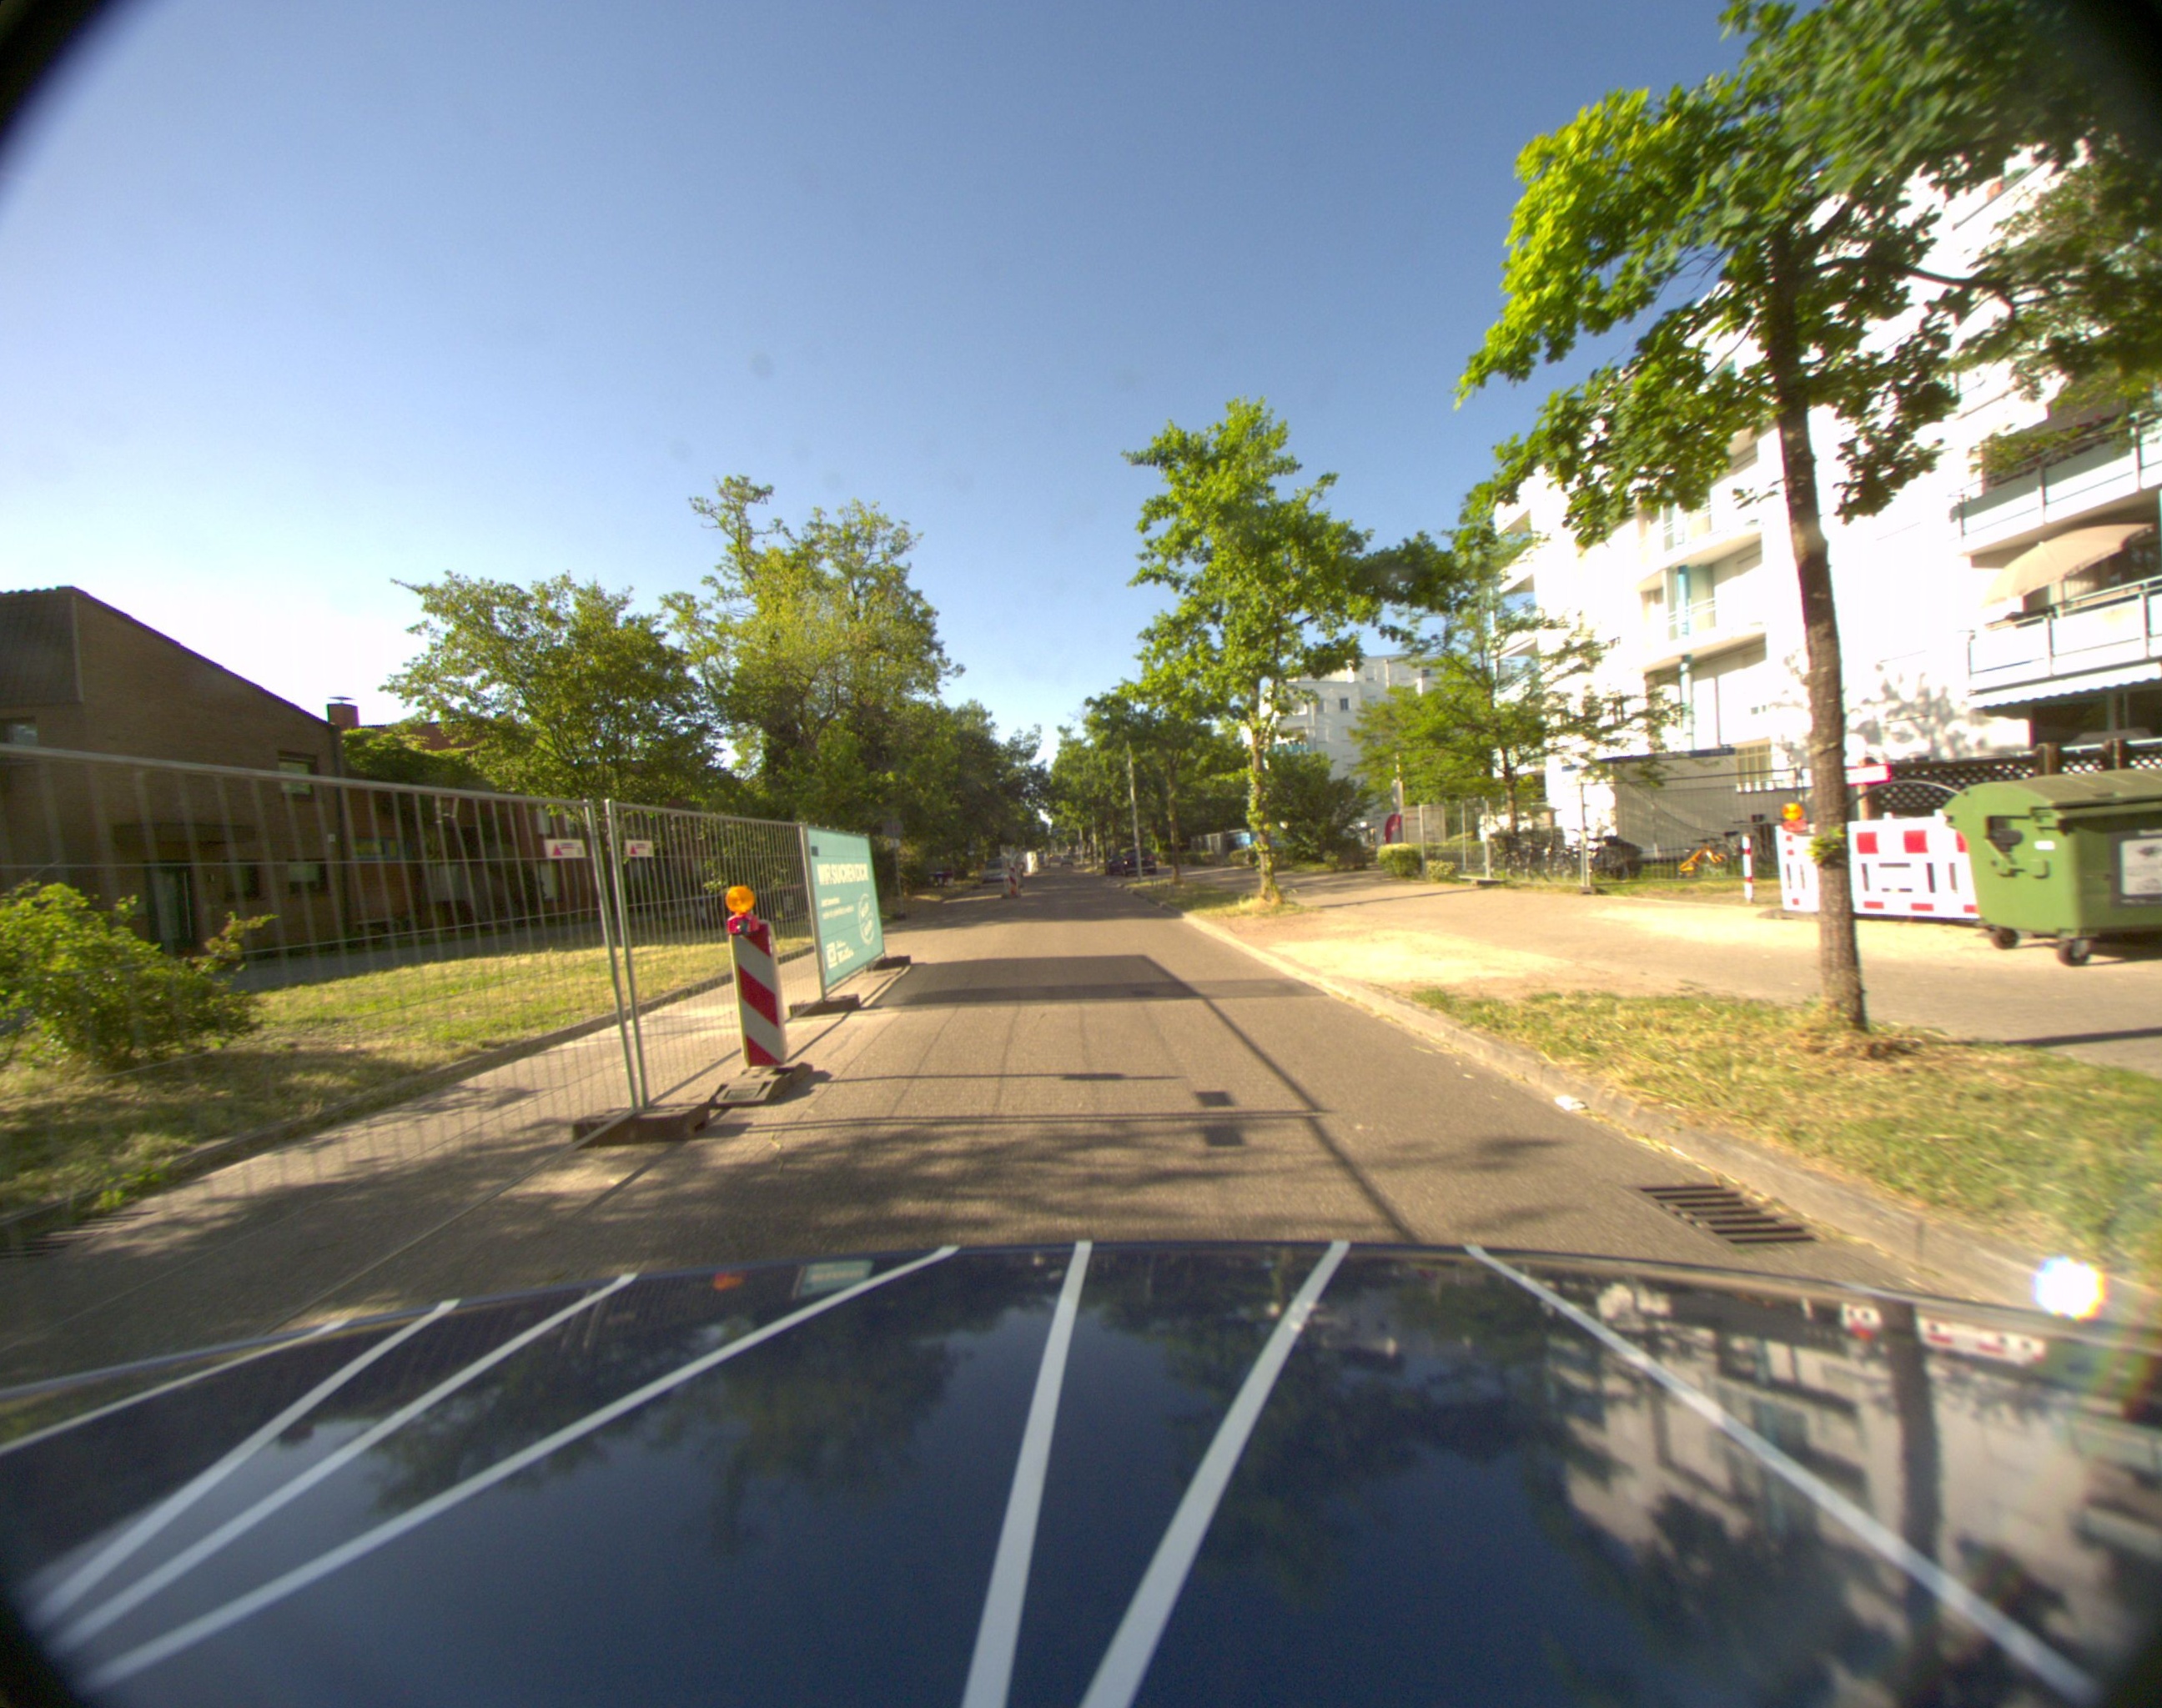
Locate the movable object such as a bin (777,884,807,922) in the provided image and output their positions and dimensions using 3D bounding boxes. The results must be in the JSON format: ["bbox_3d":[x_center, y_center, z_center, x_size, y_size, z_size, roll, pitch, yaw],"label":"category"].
[{"bbox_3d":[-8.088,1.369,21.284,0.564,0.994,0.608,-2,1,0],"label":"movable object such as a bin"}]

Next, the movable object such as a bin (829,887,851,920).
[{"bbox_3d":[-6.712,1.382,21.189,0.414,0.865,0.484,-2,1,0],"label":"movable object such as a bin"}]

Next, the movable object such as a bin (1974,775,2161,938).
[{"bbox_3d":[9.809,0.002,7.222,1.270,1.427,1.328,-3,1,27],"label":"movable object such as a bin"}]

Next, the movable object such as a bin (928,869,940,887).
[{"bbox_3d":[-7.750,1.257,40.000,0.485,0.856,0.559,-4,1,-4],"label":"movable object such as a bin"}]

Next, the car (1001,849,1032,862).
[{"bbox_3d":[-11.210,0.244,133.098,5.270,1.993,1.999,-3,1,-3],"label":"car"}]

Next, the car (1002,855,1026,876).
[{"bbox_3d":[-5.269,0.871,59.948,1.497,1.500,2.677,-5,1,1],"label":"car"}]

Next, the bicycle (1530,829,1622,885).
[{"bbox_3d":[10.200,0.051,15.651,1.844,1.021,0.400,-4,2,-13],"label":"bicycle"}]

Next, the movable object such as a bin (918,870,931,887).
[{"bbox_3d":[-8.246,1.277,40.033,0.485,0.856,0.559,-4,1,-4],"label":"movable object such as a bin"}]

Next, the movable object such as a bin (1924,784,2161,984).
[{"bbox_3d":[8.001,0.199,6.034,1.271,1.427,1.182,-3,1,15],"label":"movable object such as a bin"}]

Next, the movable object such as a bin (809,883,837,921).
[{"bbox_3d":[-7.236,1.336,21.311,0.520,0.994,0.608,-2,1,0],"label":"movable object such as a bin"}]

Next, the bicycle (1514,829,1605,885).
[{"bbox_3d":[10.119,0.053,16.072,1.865,1.021,0.400,-4,2,-13],"label":"bicycle"}]

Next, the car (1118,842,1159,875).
[{"bbox_3d":[3.215,0.257,43.213,1.780,1.612,4.219,-6,0,-1],"label":"car"}]

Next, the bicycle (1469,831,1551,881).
[{"bbox_3d":[10.143,0.041,17.959,1.875,1.021,0.400,-4,2,-13],"label":"bicycle"}]

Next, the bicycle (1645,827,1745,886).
[{"bbox_3d":[11.416,0.024,14.195,0.400,1.021,1.700,-4,1,-2],"label":"bicycle"}]

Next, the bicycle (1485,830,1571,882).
[{"bbox_3d":[10.021,0.042,17.016,1.862,1.021,0.400,-4,2,-13],"label":"bicycle"}]

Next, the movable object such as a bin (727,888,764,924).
[{"bbox_3d":[-9.346,1.454,21.192,0.696,0.923,0.695,-2,1,0],"label":"movable object such as a bin"}]

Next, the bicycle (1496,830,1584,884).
[{"bbox_3d":[10.002,0.052,16.542,1.844,1.021,0.400,-4,2,-13],"label":"bicycle"}]

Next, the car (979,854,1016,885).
[{"bbox_3d":[-4.907,0.867,45.175,1.683,1.612,4.136,-5,0,-2],"label":"car"}]

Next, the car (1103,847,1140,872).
[{"bbox_3d":[2.605,0.361,49.802,1.721,1.424,4.135,-6,0,-4],"label":"car"}]

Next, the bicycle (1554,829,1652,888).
[{"bbox_3d":[10.456,0.077,15.225,1.921,1.021,0.400,-4,2,-13],"label":"bicycle"}]

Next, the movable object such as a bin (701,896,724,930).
[{"bbox_3d":[-10.171,1.612,20.966,0.426,0.877,0.524,-2,1,-12],"label":"movable object such as a bin"}]

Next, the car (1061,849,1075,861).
[{"bbox_3d":[-1.840,0.070,105.392,1.664,1.587,4.006,-2,1,-4],"label":"car"}]

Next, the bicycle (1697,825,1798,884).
[{"bbox_3d":[12.440,-0.016,14.244,0.400,1.021,1.700,-4,1,1],"label":"bicycle"}]

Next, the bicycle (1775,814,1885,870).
[{"bbox_3d":[15.120,-0.240,15.358,1.698,1.021,0.400,-4,2,5],"label":"bicycle"}]

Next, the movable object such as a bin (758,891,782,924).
[{"bbox_3d":[-8.666,1.482,21.173,0.419,0.865,0.525,-2,1,0],"label":"movable object such as a bin"}]

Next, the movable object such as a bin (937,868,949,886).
[{"bbox_3d":[-7.256,1.209,40.029,0.485,0.856,0.559,-4,1,-4],"label":"movable object such as a bin"}]

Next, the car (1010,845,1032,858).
[{"bbox_3d":[-12.638,-0.518,160.484,4.412,2.531,1.888,-3,1,-5],"label":"car"}]

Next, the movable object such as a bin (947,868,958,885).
[{"bbox_3d":[-6.766,1.192,40.065,0.485,0.856,0.559,-4,1,-4],"label":"movable object such as a bin"}]

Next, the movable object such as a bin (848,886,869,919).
[{"bbox_3d":[-6.221,1.362,21.266,0.414,0.865,0.484,-2,1,0],"label":"movable object such as a bin"}]

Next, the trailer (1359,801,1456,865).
[{"bbox_3d":[12.408,-0.779,29.199,1.868,2.108,4.346,-6,1,3],"label":"trailer"}]
